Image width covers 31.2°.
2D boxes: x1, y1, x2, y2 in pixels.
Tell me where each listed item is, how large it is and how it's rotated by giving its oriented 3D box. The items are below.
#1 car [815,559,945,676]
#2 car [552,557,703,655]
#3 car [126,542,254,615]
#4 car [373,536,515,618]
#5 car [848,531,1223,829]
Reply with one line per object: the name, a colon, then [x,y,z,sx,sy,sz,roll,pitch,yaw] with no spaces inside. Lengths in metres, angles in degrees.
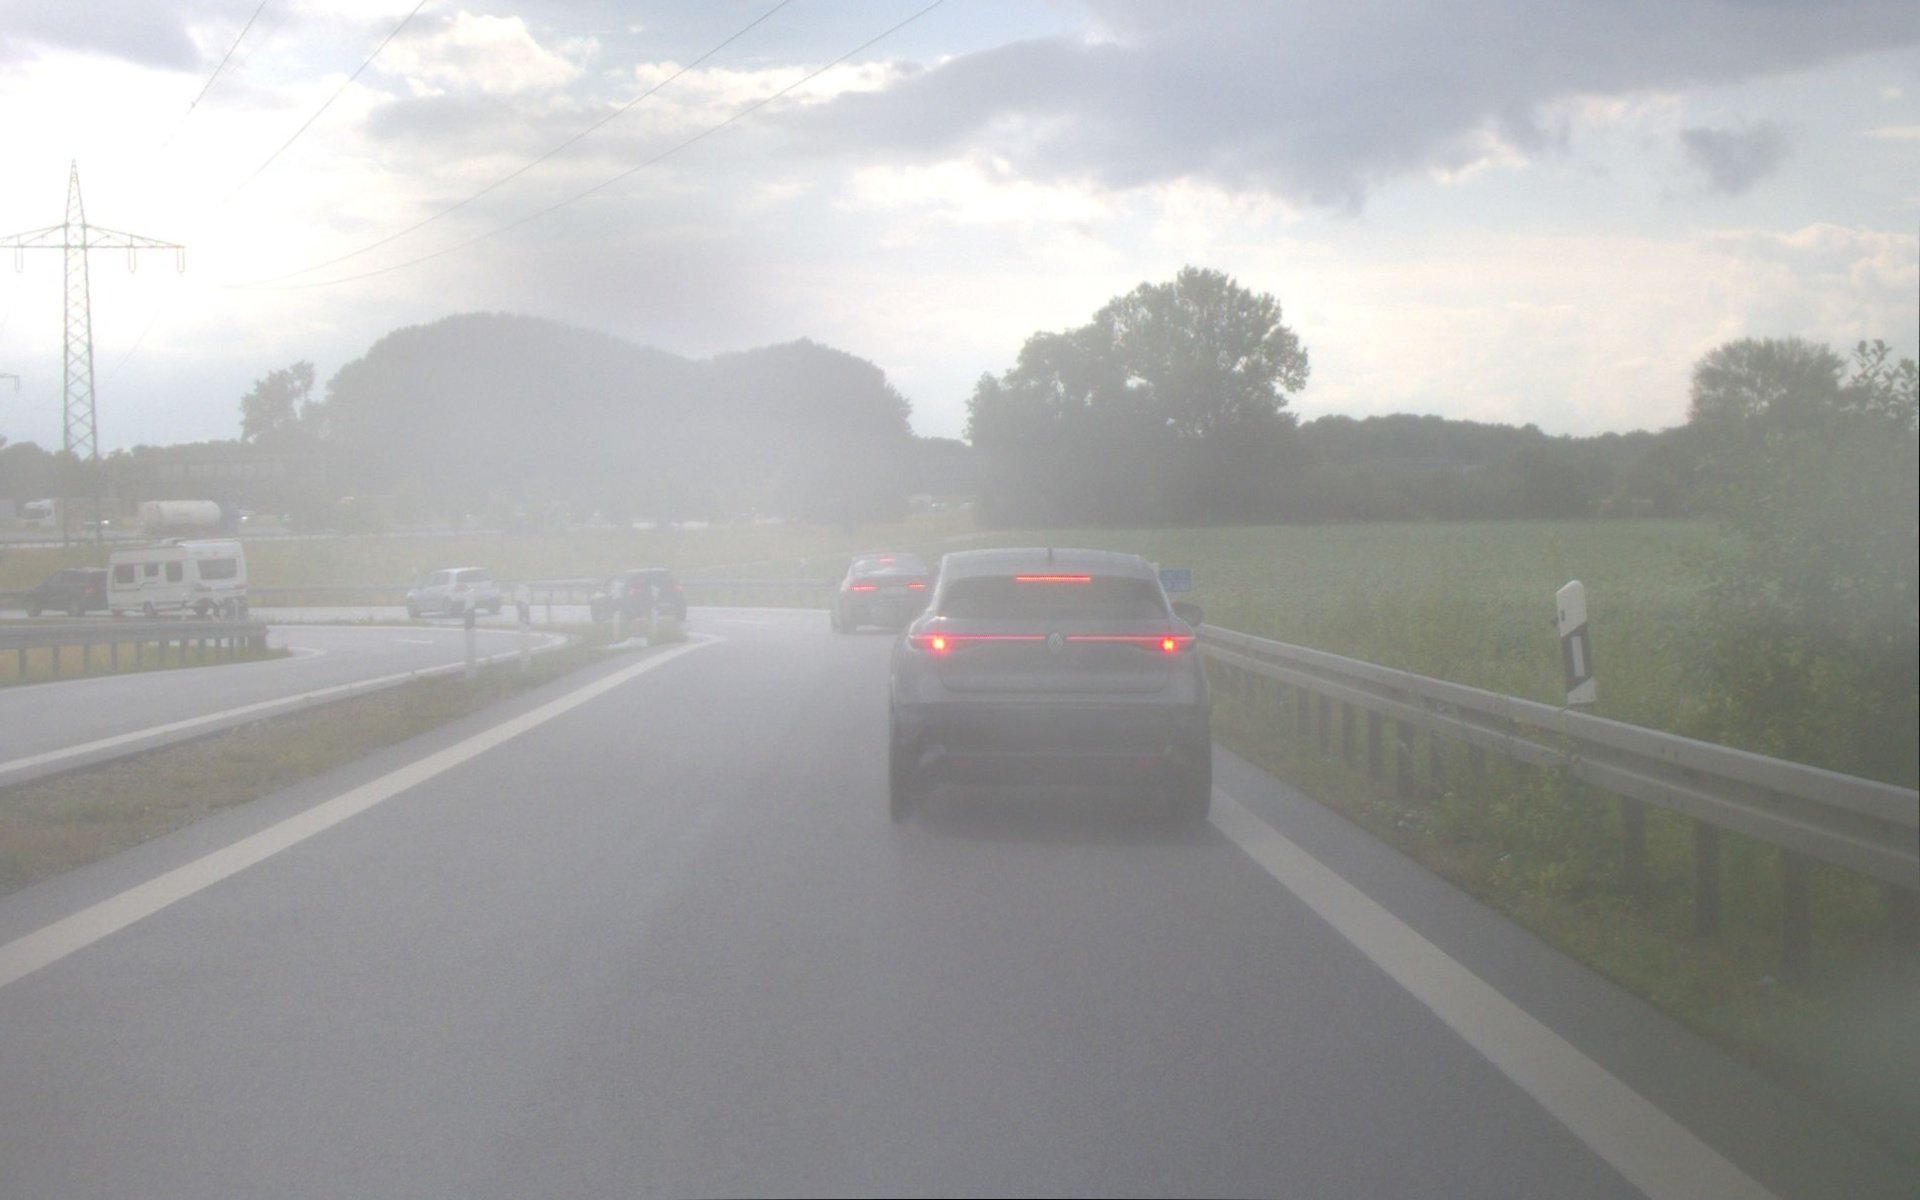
car: [-1.605,0.298,66.856,2.121,2.011,5.536,-1,2,-5]
car: [-9.004,0.129,92.690,2.351,2.299,5.130,-2,4,-26]
car: [-27.013,-0.777,120.518,2.352,2.299,5.127,-3,4,-38]
car: [-16.346,-0.758,108.668,2.352,2.299,5.128,-3,4,-35]
car: [0.452,0.390,20.542,1.993,1.561,4.149,1,1,1]
